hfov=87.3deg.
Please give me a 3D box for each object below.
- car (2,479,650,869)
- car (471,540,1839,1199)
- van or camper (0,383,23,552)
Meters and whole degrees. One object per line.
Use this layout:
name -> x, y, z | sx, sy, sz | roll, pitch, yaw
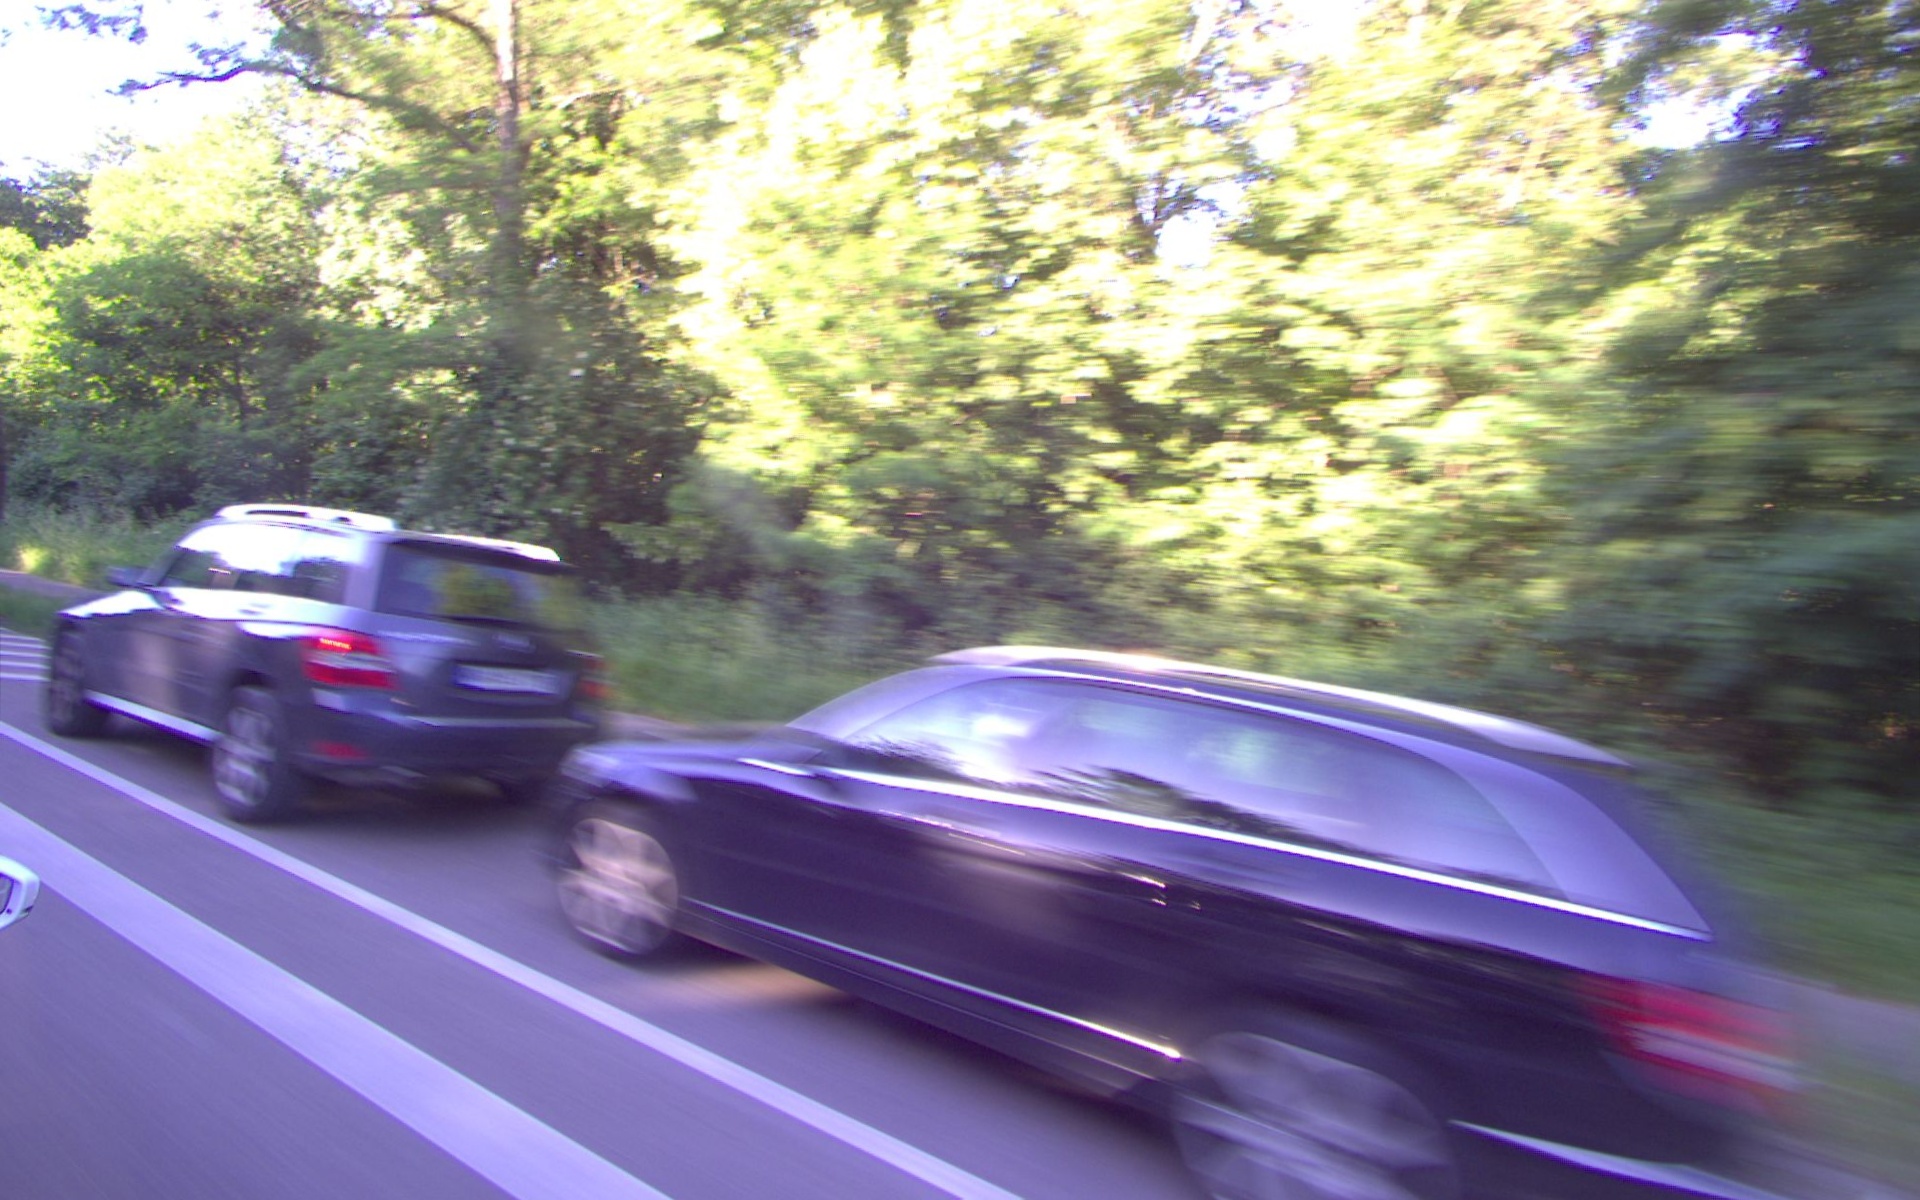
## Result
car -> -4.317, 0.292, 6.613 | 4.477, 1.684, 1.715 | 7, -2, 33
car -> 0.258, 0.833, 3.971 | 4.477, 1.586, 1.715 | 7, -2, 33
van or camper -> -14.486, -1.552, 13.447 | 2.436, 2.832, 6.472 | 9, -1, -45
